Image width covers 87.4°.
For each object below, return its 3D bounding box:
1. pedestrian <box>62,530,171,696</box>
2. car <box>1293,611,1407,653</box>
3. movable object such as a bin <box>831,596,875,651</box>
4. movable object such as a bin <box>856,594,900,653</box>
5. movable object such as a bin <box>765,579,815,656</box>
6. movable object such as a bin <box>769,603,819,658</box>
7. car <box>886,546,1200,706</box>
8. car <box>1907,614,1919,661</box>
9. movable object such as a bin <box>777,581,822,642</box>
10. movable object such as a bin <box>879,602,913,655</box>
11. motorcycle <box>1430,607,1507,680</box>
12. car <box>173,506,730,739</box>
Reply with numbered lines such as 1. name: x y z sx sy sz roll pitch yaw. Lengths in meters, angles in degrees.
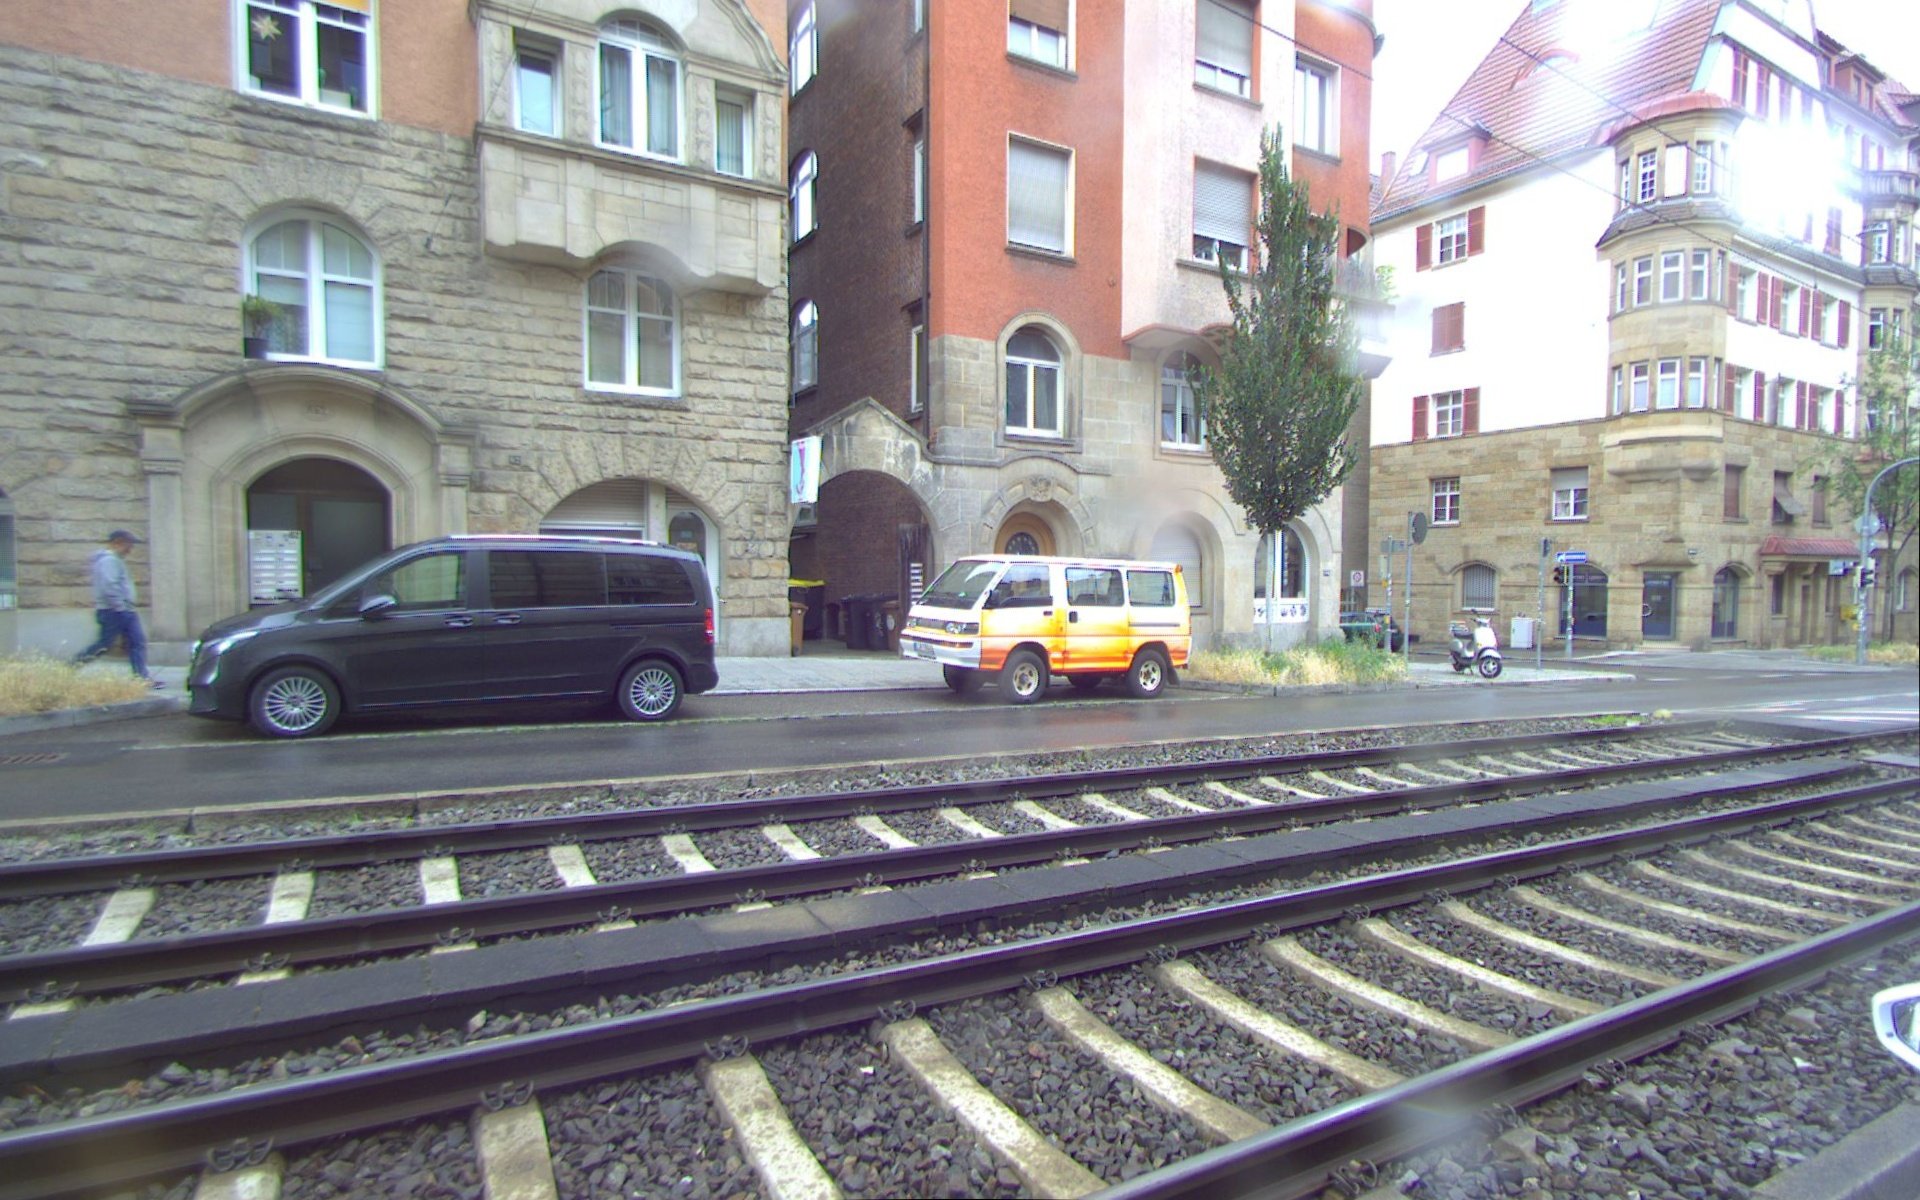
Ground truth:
1. pedestrian: -8.954 0.126 10.686 0.756 1.664 0.696 2 5 -30
2. car: 14.445 1.166 37.327 1.683 1.423 3.618 2 0 -34
3. movable object such as a bin: -2.102 0.451 19.670 0.607 1.052 0.793 1 -1 -27
4. movable object such as a bin: -1.564 0.446 19.124 0.607 1.090 0.679 1 -1 -27
5. movable object such as a bin: -3.125 0.307 18.448 0.648 1.360 0.903 1 1 -27
6. movable object such as a bin: -2.910 0.528 17.575 0.627 0.918 0.793 1 1 -27
7. car: 1.257 0.378 14.424 4.295 2.001 1.721 2 0 -32
8. car: 34.151 1.334 34.335 3.994 1.573 1.742 2 0 -34
9. movable object such as a bin: -3.628 0.246 22.642 0.676 1.324 1.154 1 1 -26
10. movable object such as a bin: -1.191 0.520 18.616 0.442 0.957 0.557 1 -1 -27
11. motorcycle: 10.088 0.833 19.984 0.612 1.384 1.596 2 0 -3
12. car: -5.070 0.252 10.580 4.769 1.968 1.984 2 0 -30
